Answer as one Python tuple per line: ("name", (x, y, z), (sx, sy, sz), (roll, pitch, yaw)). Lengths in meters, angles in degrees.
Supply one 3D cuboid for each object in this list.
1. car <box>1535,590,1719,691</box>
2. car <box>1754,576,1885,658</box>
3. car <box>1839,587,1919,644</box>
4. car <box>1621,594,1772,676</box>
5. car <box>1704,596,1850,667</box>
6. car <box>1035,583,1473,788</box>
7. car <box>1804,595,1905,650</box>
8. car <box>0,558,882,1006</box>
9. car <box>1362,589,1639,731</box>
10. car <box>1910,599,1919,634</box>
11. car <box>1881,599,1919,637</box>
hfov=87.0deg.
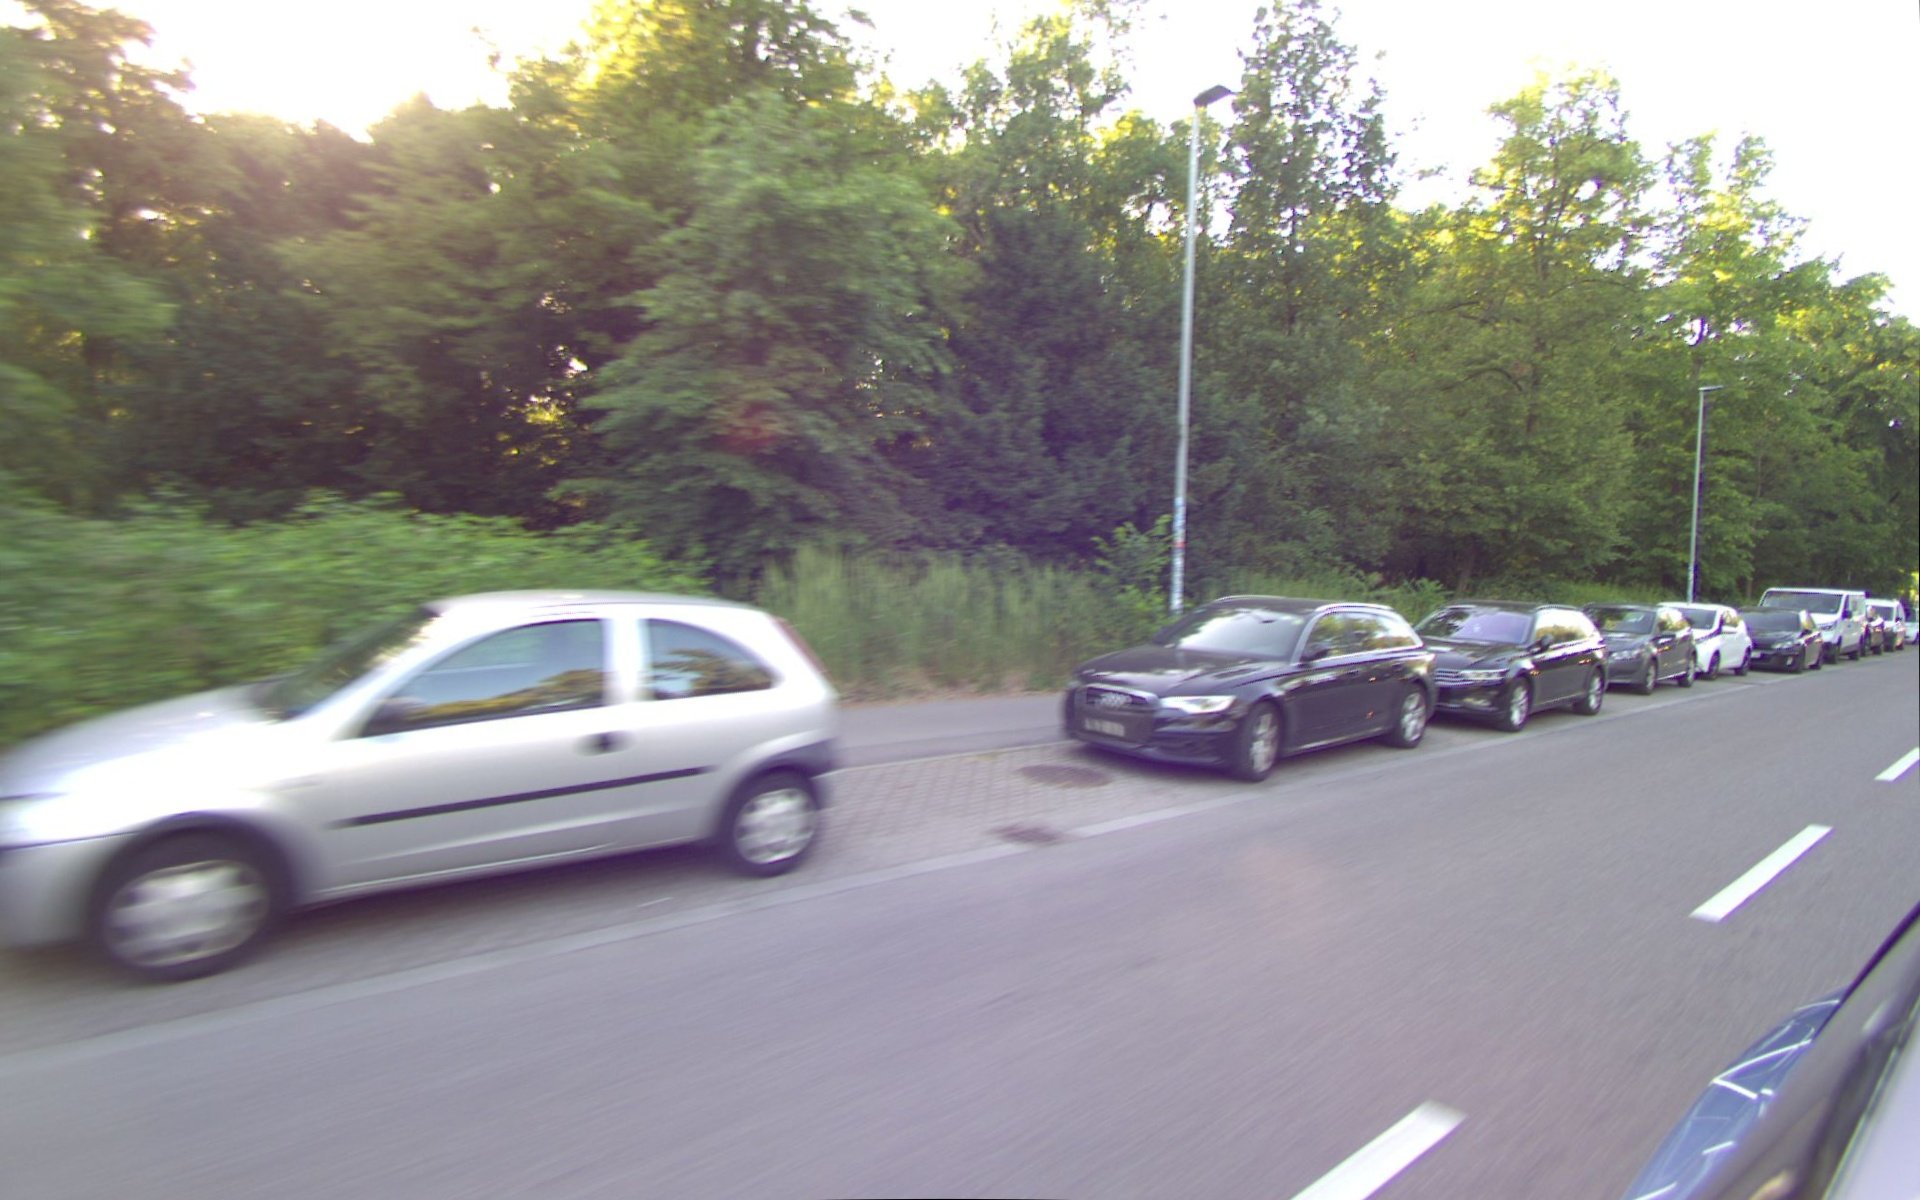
("car", (11.608, 0.616, 17.524), (3.873, 1.471, 1.589), (0, 3, -40))
("car", (23.922, 0.395, 28.083), (5.378, 2.005, 1.873), (0, 3, -41))
("car", (33.101, 0.503, 36.326), (4.656, 1.826, 1.762), (0, 3, -42))
("car", (15.191, 0.650, 20.826), (3.730, 1.471, 1.590), (0, 3, -40))
("car", (19.227, 0.664, 23.767), (4.292, 1.423, 1.873), (0, 3, -41))
("car", (3.101, 0.621, 9.939), (4.952, 1.471, 1.777), (0, 3, -42))
("car", (28.509, 0.659, 32.211), (4.351, 1.566, 1.763), (0, 3, -41))
("car", (-2.540, 0.592, 5.081), (3.940, 1.471, 1.780), (0, 3, -38))
("car", (7.196, 0.633, 13.224), (4.814, 1.471, 1.640), (0, 3, -42))
("car", (45.486, 0.783, 46.844), (4.904, 1.554, 1.762), (0, 3, -42))
("car", (40.646, 0.763, 43.106), (3.123, 1.513, 1.590), (0, 3, -40))
